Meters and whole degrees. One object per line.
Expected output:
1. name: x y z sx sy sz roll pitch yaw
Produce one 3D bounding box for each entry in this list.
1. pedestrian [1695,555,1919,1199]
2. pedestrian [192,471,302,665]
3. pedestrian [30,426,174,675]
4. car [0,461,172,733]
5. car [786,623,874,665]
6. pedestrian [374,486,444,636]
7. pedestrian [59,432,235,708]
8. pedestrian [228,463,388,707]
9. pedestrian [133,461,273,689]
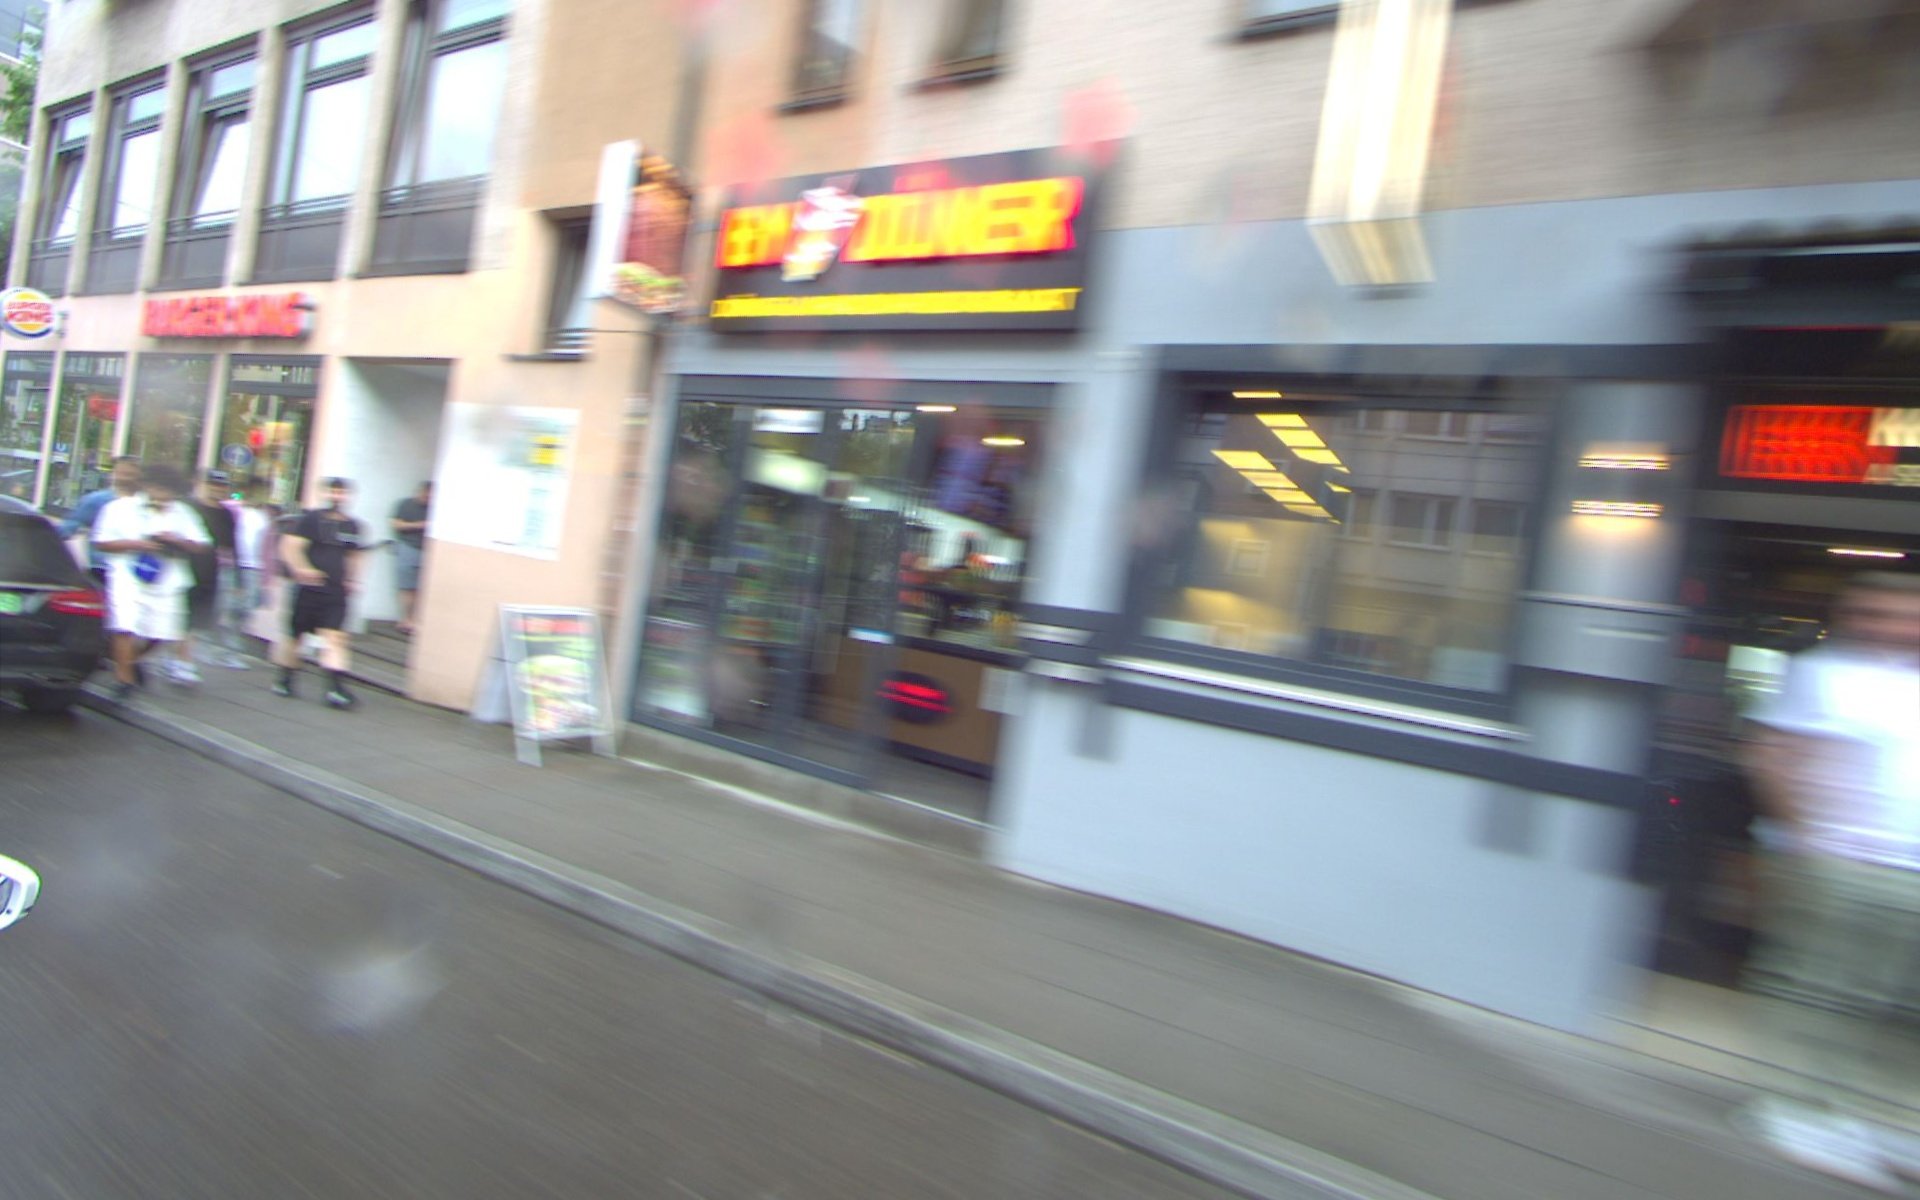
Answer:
1. pedestrian: 2.887 0.840 3.246 0.547 1.882 0.530 7 1 24
2. pedestrian: -6.701 -0.290 9.461 0.469 1.735 0.576 7 1 33
3. pedestrian: -7.127 -0.391 8.363 0.525 1.972 0.652 7 1 33
4. car: -7.677 -0.233 7.086 4.341 1.635 1.909 7 -1 32
5. car: -5.565 1.922 43.379 1.646 1.473 3.665 7 0 33
6. pedestrian: -5.629 -0.394 10.285 0.366 1.471 0.359 7 1 29
7. pedestrian: -5.882 -0.207 7.291 0.642 1.878 0.696 7 1 33
8. pedestrian: -5.211 -0.106 8.057 0.578 1.842 0.756 7 1 33
9. pedestrian: -6.070 -0.188 8.074 0.571 1.735 0.611 7 1 33
